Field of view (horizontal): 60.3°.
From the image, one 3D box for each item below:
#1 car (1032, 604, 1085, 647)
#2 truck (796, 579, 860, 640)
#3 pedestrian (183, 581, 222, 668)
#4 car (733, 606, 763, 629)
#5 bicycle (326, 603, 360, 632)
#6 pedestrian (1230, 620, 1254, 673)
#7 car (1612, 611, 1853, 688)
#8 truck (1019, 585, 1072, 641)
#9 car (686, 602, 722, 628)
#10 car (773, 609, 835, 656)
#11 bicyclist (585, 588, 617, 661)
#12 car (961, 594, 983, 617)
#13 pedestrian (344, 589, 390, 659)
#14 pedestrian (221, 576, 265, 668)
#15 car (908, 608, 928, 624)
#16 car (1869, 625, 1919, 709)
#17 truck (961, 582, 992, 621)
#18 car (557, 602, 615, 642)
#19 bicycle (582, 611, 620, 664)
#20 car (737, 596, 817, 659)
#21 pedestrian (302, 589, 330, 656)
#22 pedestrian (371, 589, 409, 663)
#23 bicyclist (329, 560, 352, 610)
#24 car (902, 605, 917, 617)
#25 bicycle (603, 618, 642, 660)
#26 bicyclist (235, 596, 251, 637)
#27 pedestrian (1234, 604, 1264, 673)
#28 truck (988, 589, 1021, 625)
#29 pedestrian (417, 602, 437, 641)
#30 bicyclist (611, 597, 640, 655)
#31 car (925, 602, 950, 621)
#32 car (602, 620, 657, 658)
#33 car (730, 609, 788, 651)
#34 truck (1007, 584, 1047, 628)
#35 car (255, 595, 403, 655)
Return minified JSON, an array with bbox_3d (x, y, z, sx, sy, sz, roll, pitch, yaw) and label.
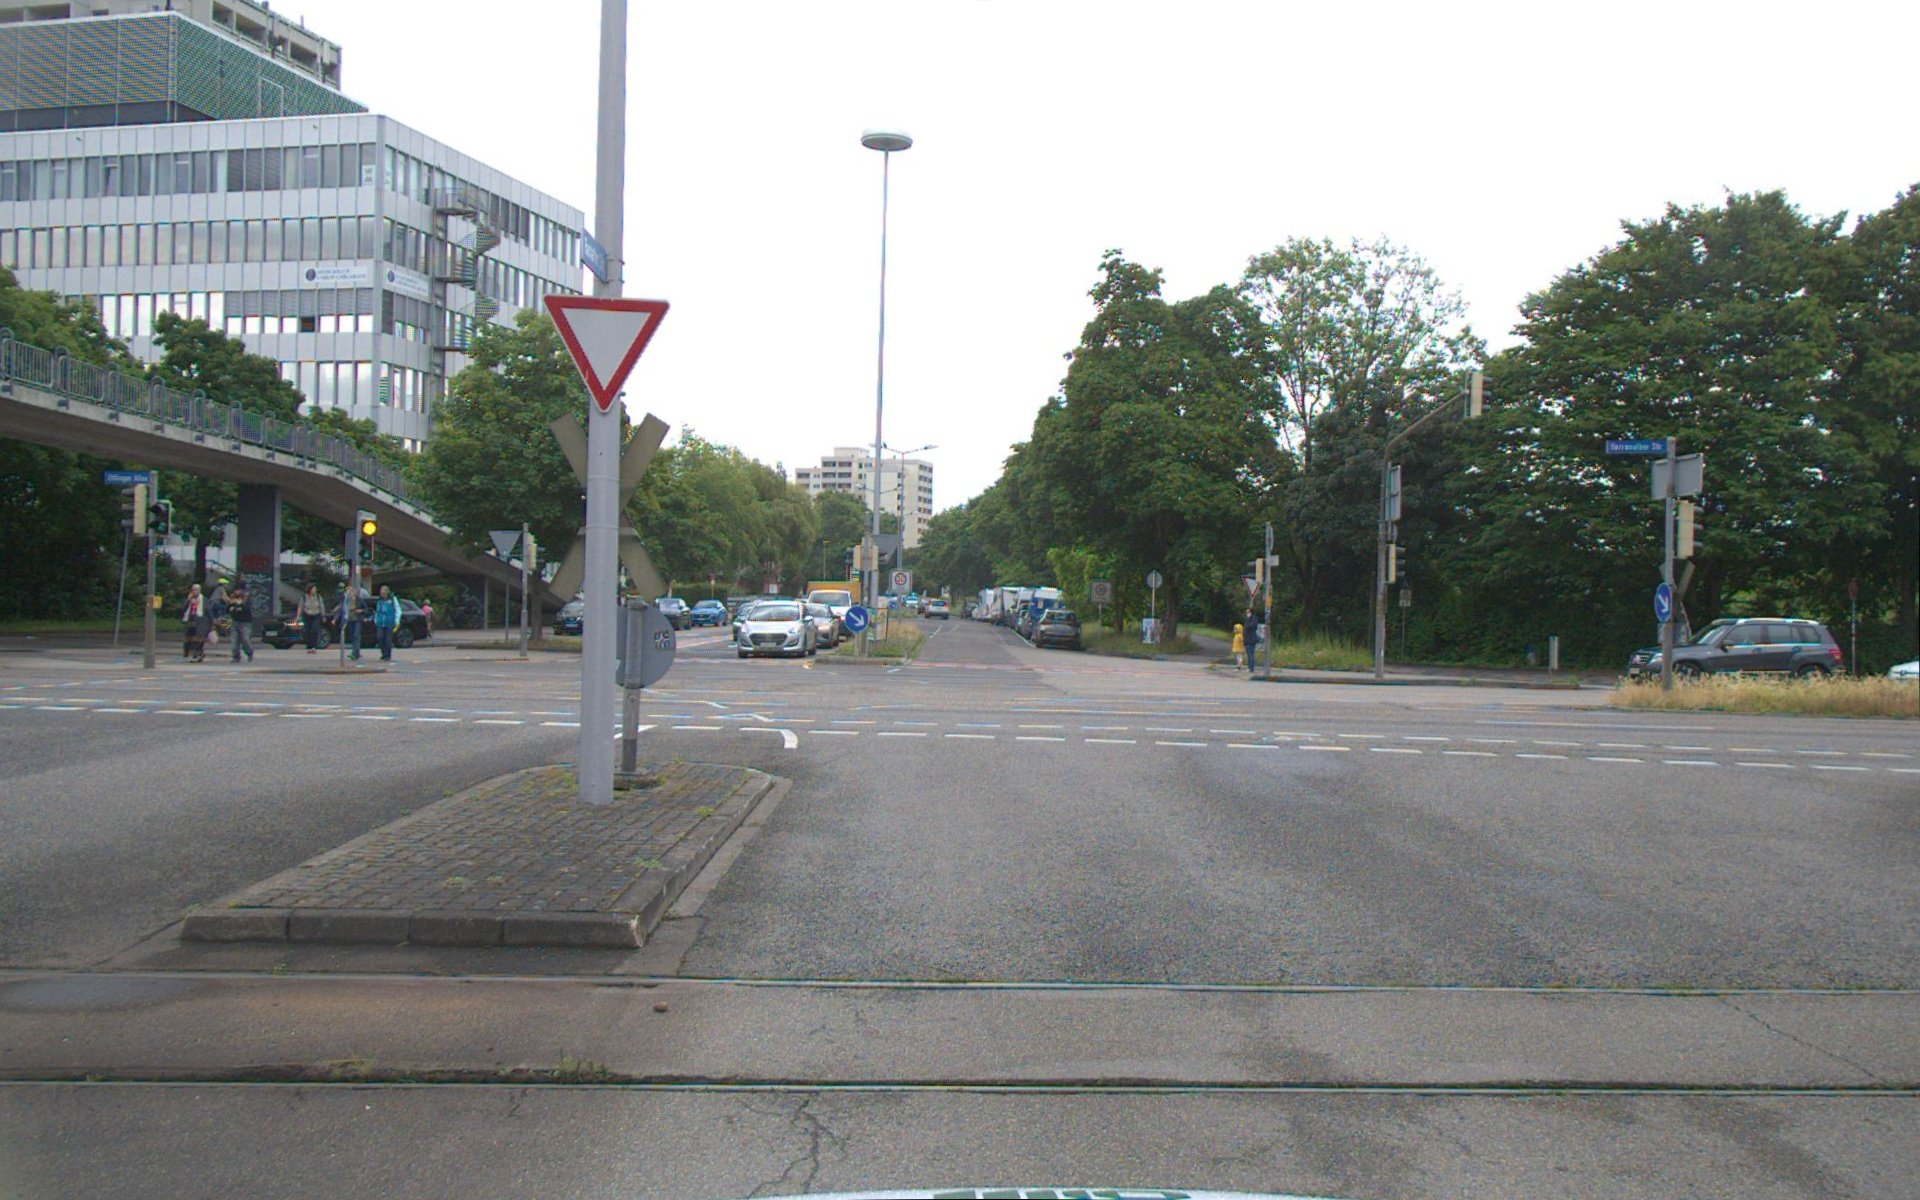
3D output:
[{"bbox_3d":[3.990,1.015,67.662,1.748,1.691,3.998,1,0,-2],"label":"car"},{"bbox_3d":[-5.066,0.357,64.309,2.112,2.237,5.838,1,0,-1],"label":"truck"},{"bbox_3d":[-15.259,0.488,33.317,0.608,1.721,0.403,1,0,-16],"label":"pedestrian"},{"bbox_3d":[-15.231,1.243,119.018,1.637,1.579,3.999,1,0,-1],"label":"car"},{"bbox_3d":[-20.791,0.573,55.766,0.515,0.965,1.708,1,0,-1],"label":"bicycle"},{"bbox_3d":[7.454,1.228,43.718,0.516,1.365,0.524,1,0,-2],"label":"pedestrian"},{"bbox_3d":[16.739,1.061,35.980,4.374,1.530,1.846,1,0,-1],"label":"car"},{"bbox_3d":[4.329,0.675,84.482,2.131,2.703,6.243,1,-1,-2],"label":"truck"},{"bbox_3d":[-15.744,0.902,101.809,1.637,1.579,3.999,1,0,-1],"label":"car"},{"bbox_3d":[-5.191,1.069,55.636,1.859,1.445,4.733,1,0,-3],"label":"car"},{"bbox_3d":[-9.050,0.614,41.678,0.631,1.799,0.646,1,0,-2],"label":"bicyclist"},{"bbox_3d":[1.082,0.487,152.443,1.619,1.952,3.914,1,1,-6],"label":"car"},{"bbox_3d":[-13.370,0.540,37.295,0.901,1.537,0.402,1,0,-13],"label":"pedestrian"},{"bbox_3d":[-14.578,0.450,33.639,0.625,1.835,0.800,1,0,-11],"label":"pedestrian"},{"bbox_3d":[-4.255,1.581,168.154,1.980,1.532,3.998,1,0,-2],"label":"car"},{"bbox_3d":[18.086,1.186,28.420,4.053,1.381,1.647,1,0,-1],"label":"car"},{"bbox_3d":[1.354,0.152,136.609,1.955,3.062,5.765,1,-1,-5],"label":"truck"},{"bbox_3d":[-15.929,0.917,70.647,1.637,1.579,3.891,1,0,-1],"label":"car"},{"bbox_3d":[-9.070,0.933,41.828,0.532,1.289,2.110,1,0,-2],"label":"bicycle"},{"bbox_3d":[-4.862,0.738,44.389,1.753,1.545,4.323,-2,-1,-2],"label":"car"},{"bbox_3d":[-15.566,0.539,39.999,0.570,1.607,0.777,1,0,-20],"label":"pedestrian"},{"bbox_3d":[-12.765,0.589,37.069,0.674,1.633,0.487,1,0,-7],"label":"pedestrian"},{"bbox_3d":[-20.807,-0.492,55.560,0.553,1.673,0.531,1,-1,-2],"label":"bicyclist"},{"bbox_3d":[-6.857,1.455,225.411,1.980,1.532,3.998,1,0,-2],"label":"car"},{"bbox_3d":[-9.528,1.092,46.756,0.712,1.120,2.263,1,0,-2],"label":"bicycle"},{"bbox_3d":[-22.946,0.525,52.940,0.380,1.326,0.274,1,0,-39],"label":"bicyclist"},{"bbox_3d":[7.528,1.004,43.107,0.643,1.780,0.459,1,0,-2],"label":"pedestrian"},{"bbox_3d":[3.351,0.546,125.882,1.954,2.618,5.374,1,-1,-4],"label":"truck"},{"bbox_3d":[-18.098,0.728,56.127,0.489,1.293,0.458,1,-1,0],"label":"pedestrian"},{"bbox_3d":[-9.448,0.740,46.716,0.665,1.622,0.695,1,-1,-2],"label":"bicyclist"},{"bbox_3d":[-1.955,0.940,141.358,1.980,1.532,3.998,1,0,-2],"label":"car"},{"bbox_3d":[-13.029,1.517,65.378,1.481,1.414,3.532,1,-1,0],"label":"car"},{"bbox_3d":[-7.656,1.112,63.312,1.734,1.503,4.388,1,0,-2],"label":"car"},{"bbox_3d":[4.558,0.418,113.851,1.955,2.888,5.724,1,0,-6],"label":"truck"},{"bbox_3d":[-17.620,0.662,46.409,1.631,1.534,4.401,1,1,14],"label":"car"}]
